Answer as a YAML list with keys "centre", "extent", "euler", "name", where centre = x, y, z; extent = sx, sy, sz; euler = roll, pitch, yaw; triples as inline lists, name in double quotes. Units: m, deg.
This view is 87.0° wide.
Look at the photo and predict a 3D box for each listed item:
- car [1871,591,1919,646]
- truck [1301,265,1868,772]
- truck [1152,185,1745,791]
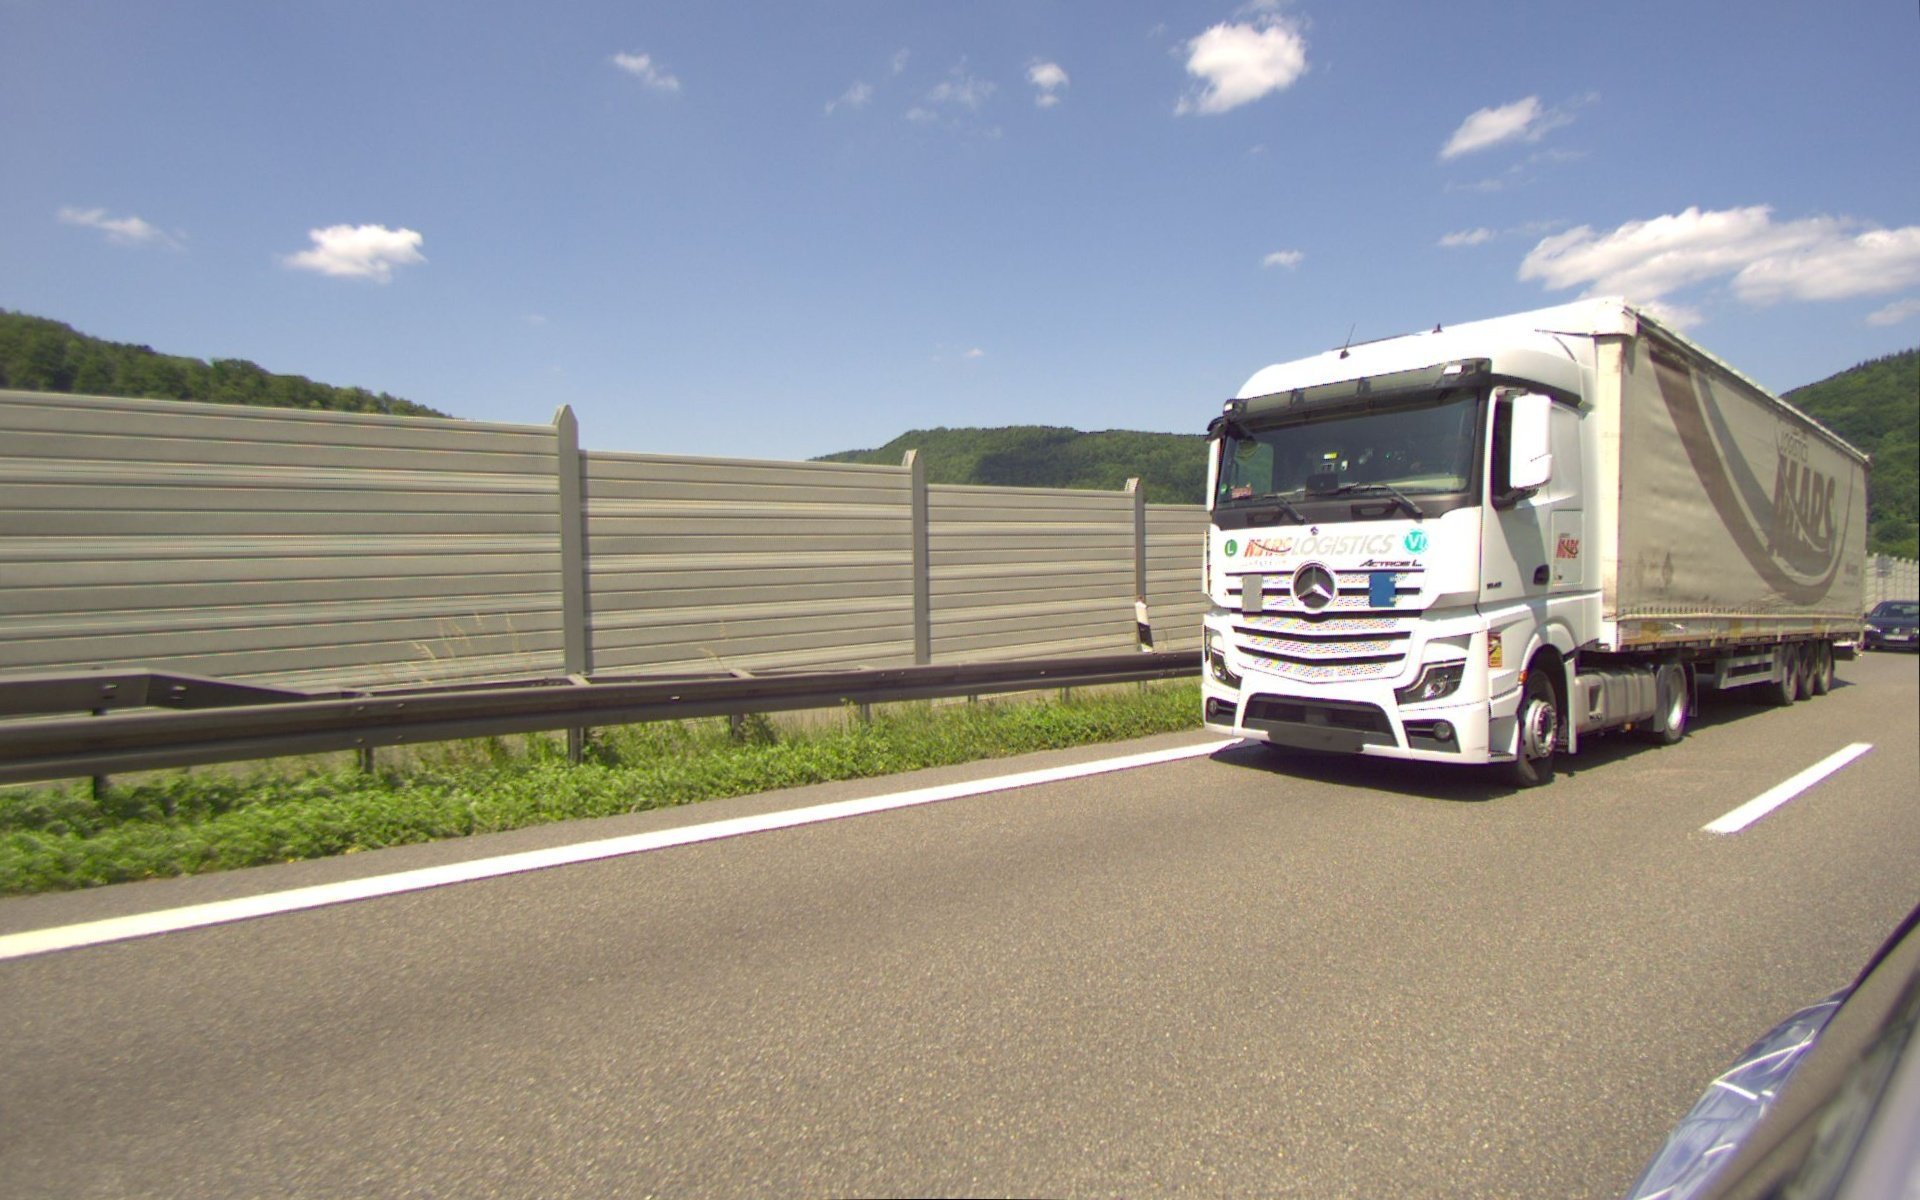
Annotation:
- centre: [27.176, 0.499, 28.589]
  extent: [3.414, 1.430, 1.662]
  euler: [-1, 3, -40]
  name: "car"
- centre: [8.996, -0.779, 13.347]
  extent: [11.836, 4.199, 2.860]
  euler: [-1, 2, -41]
  name: "truck"
- centre: [5.182, -0.832, 10.069]
  extent: [6.704, 4.089, 2.762]
  euler: [-2, 0, -40]
  name: "truck"
